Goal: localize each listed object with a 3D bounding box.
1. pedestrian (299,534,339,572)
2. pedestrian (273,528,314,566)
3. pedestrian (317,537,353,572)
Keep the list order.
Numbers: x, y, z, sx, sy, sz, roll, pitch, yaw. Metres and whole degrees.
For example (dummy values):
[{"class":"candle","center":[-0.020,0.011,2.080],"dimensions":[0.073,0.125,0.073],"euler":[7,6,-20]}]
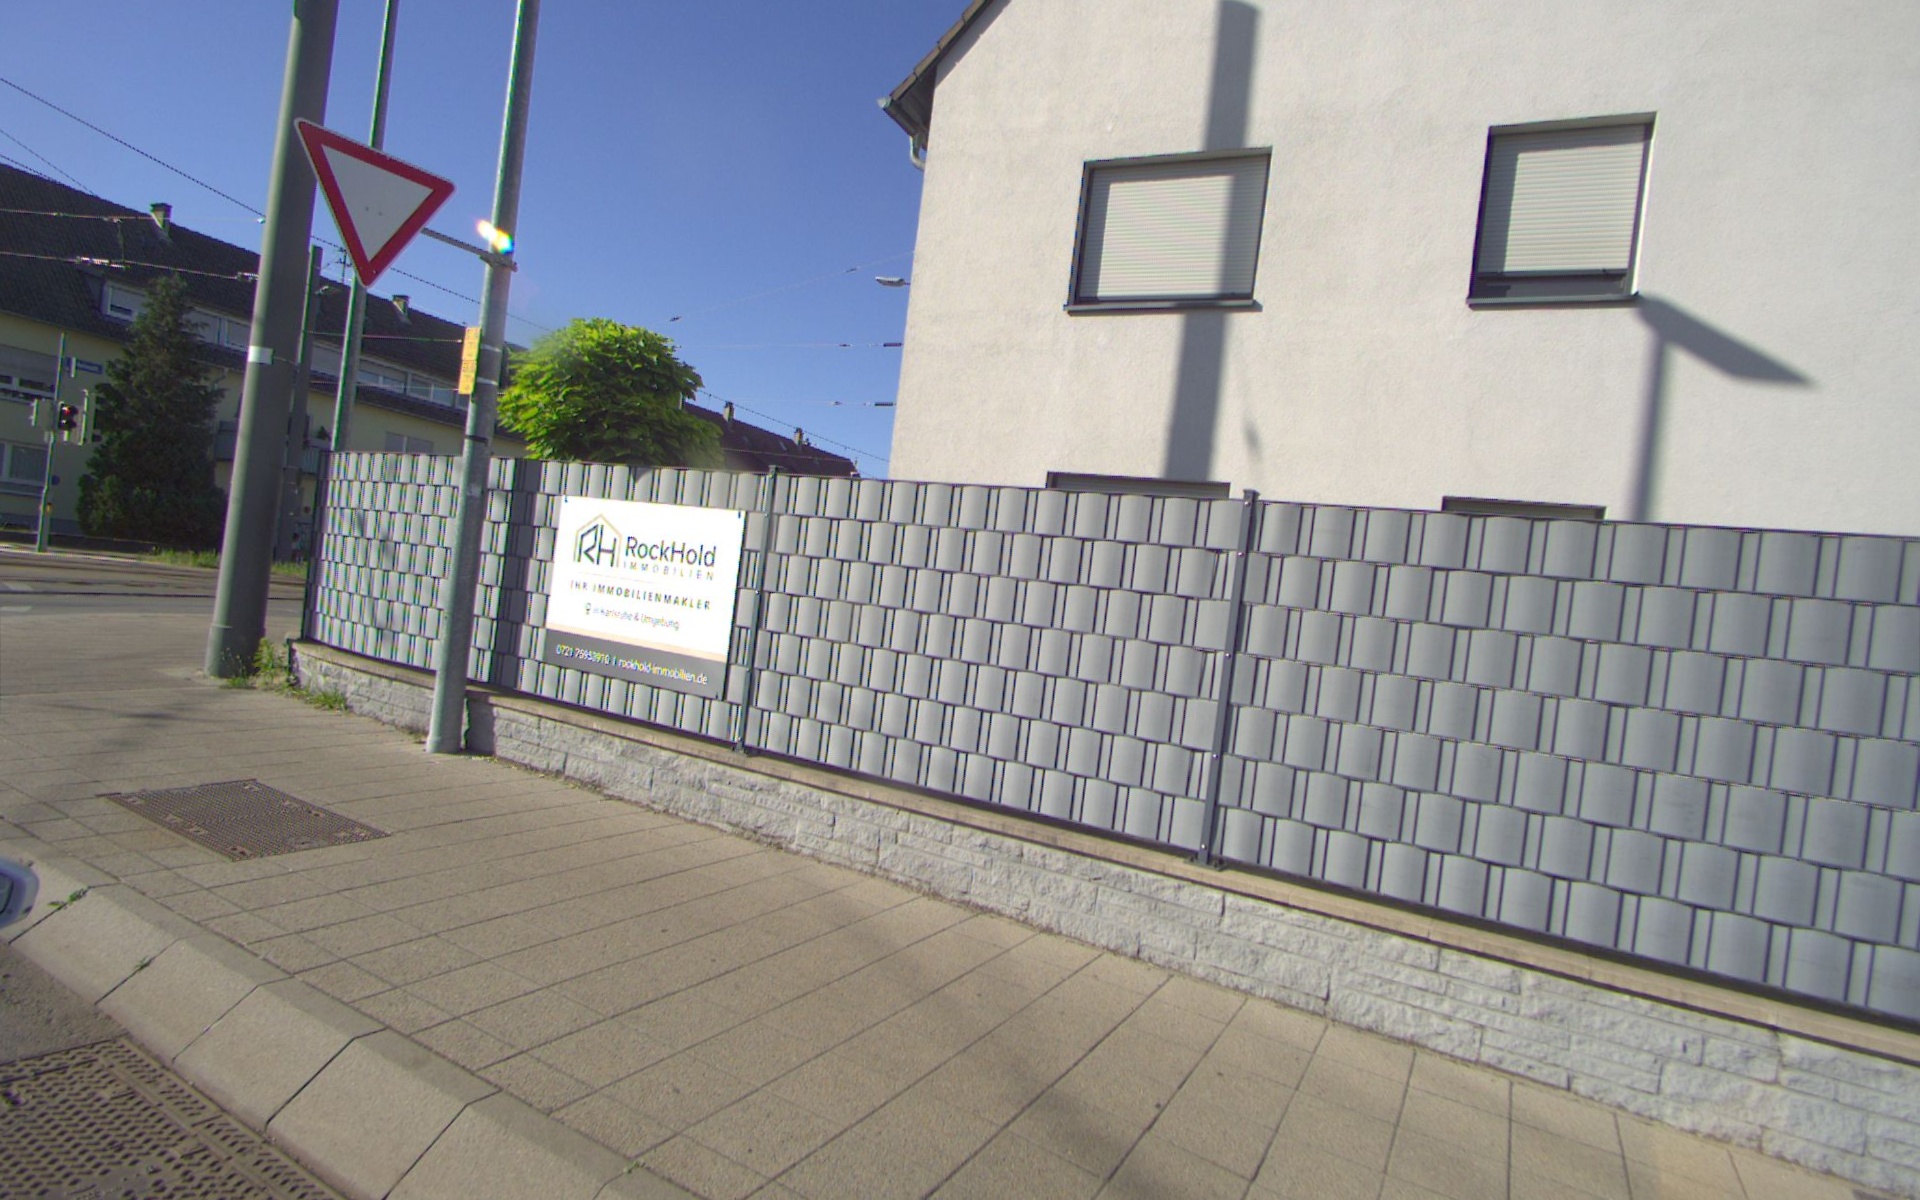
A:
[{"class":"pedestrian","center":[-21.124,-1.543,33.157],"dimensions":[0.806,1.077,0.626],"euler":[8,-1,-6]},{"class":"pedestrian","center":[-21.448,-1.702,32.381],"dimensions":[0.805,1.059,0.688],"euler":[7,0,24]},{"class":"pedestrian","center":[-20.980,-1.530,33.797],"dimensions":[0.710,1.017,0.595],"euler":[8,-1,3]}]
